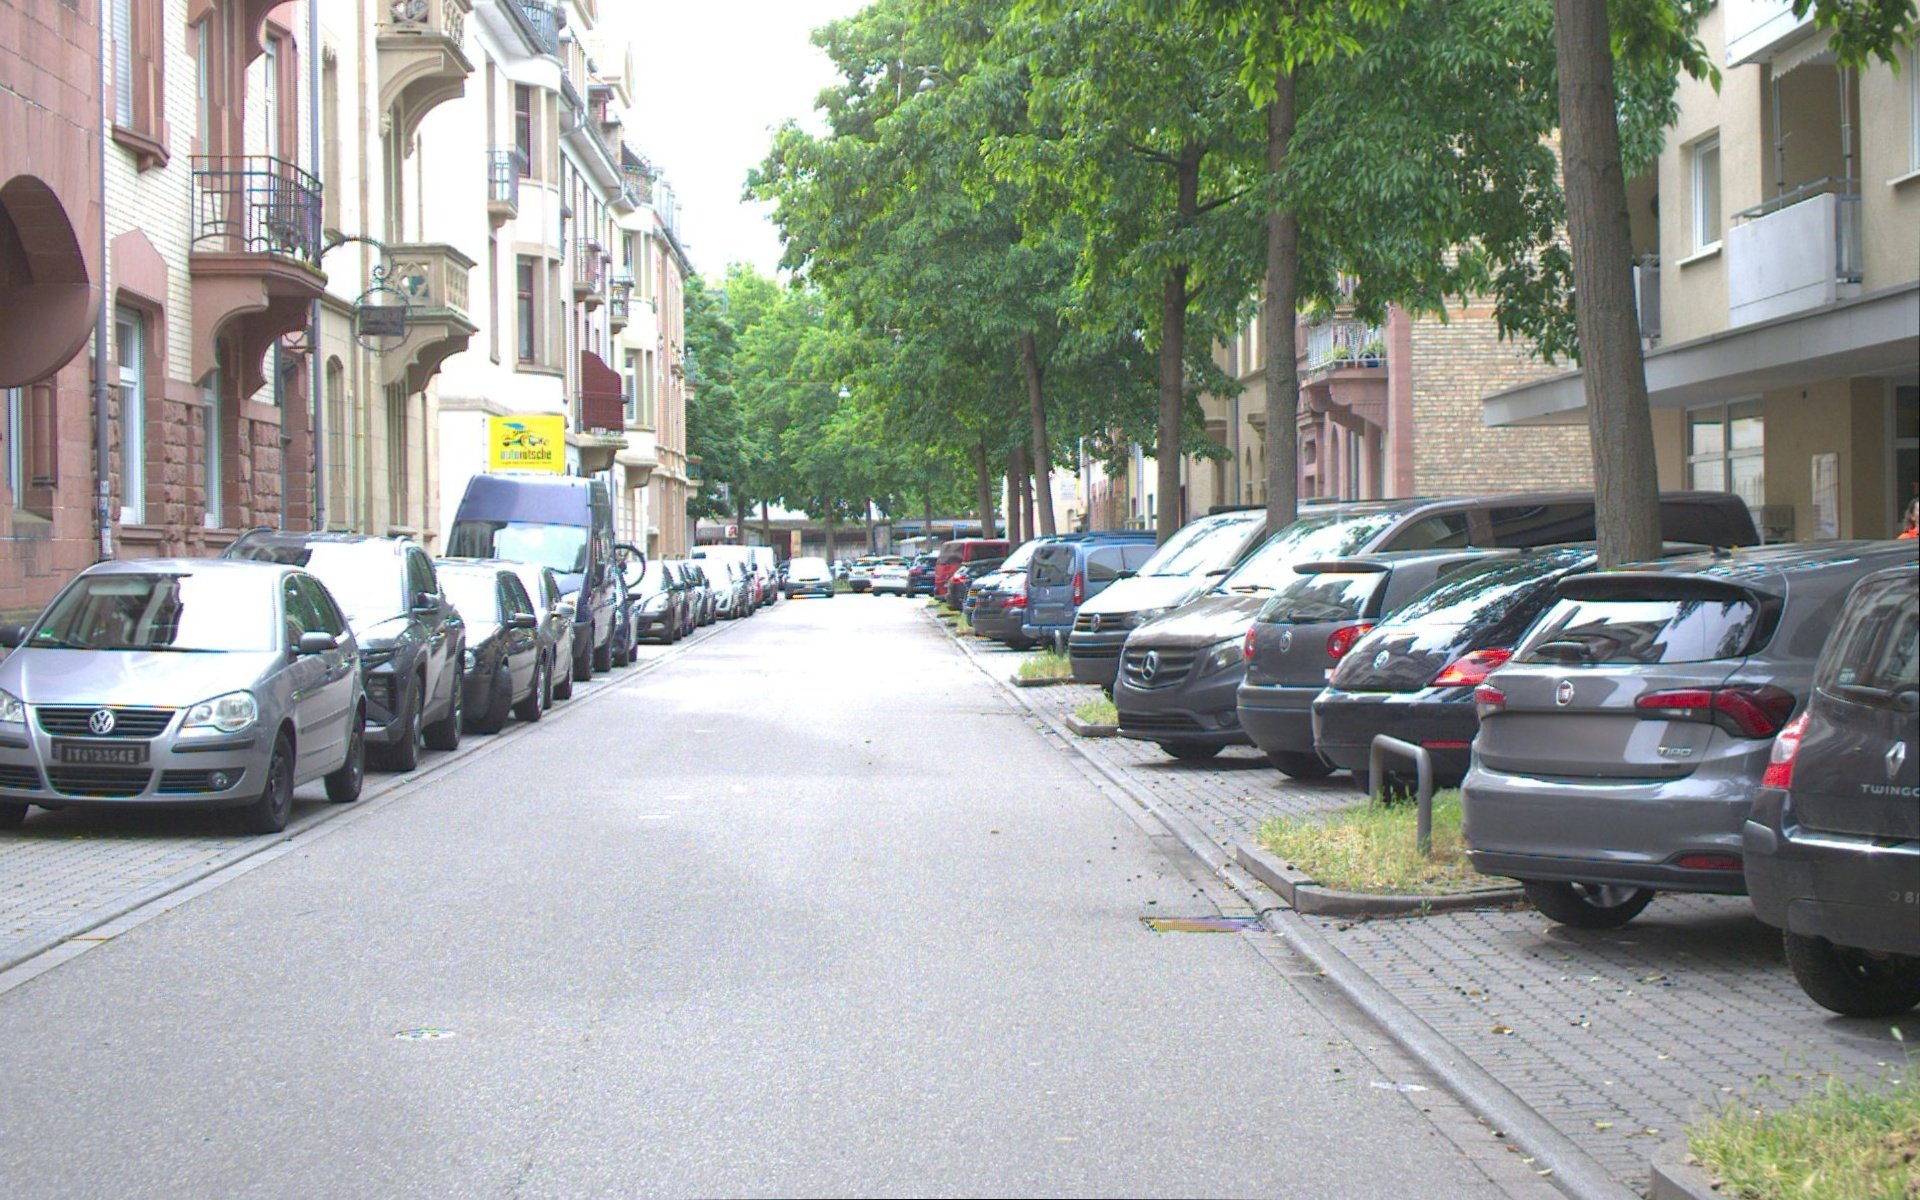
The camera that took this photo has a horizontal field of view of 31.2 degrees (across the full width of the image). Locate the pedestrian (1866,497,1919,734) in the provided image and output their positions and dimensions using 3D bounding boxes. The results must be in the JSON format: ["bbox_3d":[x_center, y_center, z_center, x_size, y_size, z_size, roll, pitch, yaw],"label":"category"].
[{"bbox_3d":[7.241,0.103,25.751,0.624,1.736,0.849,-1,1,-1],"label":"pedestrian"}]

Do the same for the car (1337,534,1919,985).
[{"bbox_3d":[3.821,0.488,13.577,4.213,1.495,1.976,-3,1,-29],"label":"car"}]

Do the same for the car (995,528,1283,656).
[{"bbox_3d":[2.911,-0.130,55.712,4.172,1.863,2.000,-3,0,-31],"label":"car"}]

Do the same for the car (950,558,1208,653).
[{"bbox_3d":[2.040,0.074,58.527,4.010,1.554,1.884,-1,1,-32],"label":"car"}]

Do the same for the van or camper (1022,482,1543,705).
[{"bbox_3d":[3.217,-0.067,34.153,4.729,1.987,2.000,-2,-1,-26],"label":"van or camper"}]

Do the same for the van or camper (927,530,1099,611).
[{"bbox_3d":[1.414,-0.788,91.933,4.146,2.078,1.953,-1,1,-29],"label":"van or camper"}]

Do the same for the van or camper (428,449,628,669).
[{"bbox_3d":[-5.490,-0.535,44.307,2.008,2.642,5.316,-1,1,-1],"label":"van or camper"}]

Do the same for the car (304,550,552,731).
[{"bbox_3d":[-4.632,0.309,30.404,1.634,1.468,4.000,1,1,-1],"label":"car"}]

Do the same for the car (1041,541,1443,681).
[{"bbox_3d":[3.290,0.108,39.843,4.301,1.388,1.923,-3,1,-33],"label":"car"}]

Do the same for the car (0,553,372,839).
[{"bbox_3d":[-4.465,0.466,19.533,1.662,1.416,3.929,1,1,-2],"label":"car"}]

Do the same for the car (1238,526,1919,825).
[{"bbox_3d":[3.837,0.367,19.540,4.039,1.478,1.948,-2,1,-27],"label":"car"}]

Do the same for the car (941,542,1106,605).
[{"bbox_3d":[1.507,-0.636,82.508,3.760,1.460,1.729,-1,1,-7],"label":"car"}]

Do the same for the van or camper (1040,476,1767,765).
[{"bbox_3d":[3.324,0.106,25.544,5.005,1.863,2.127,-2,1,-29],"label":"van or camper"}]

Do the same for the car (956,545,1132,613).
[{"bbox_3d":[1.883,-0.483,77.894,3.760,1.460,1.729,-1,1,-7],"label":"car"}]

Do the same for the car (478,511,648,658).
[{"bbox_3d":[-5.711,-0.248,50.005,1.993,2.007,4.891,-1,1,-1],"label":"car"}]

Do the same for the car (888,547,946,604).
[{"bbox_3d":[-1.616,-0.929,128.926,1.993,2.007,4.000,2,1,-2],"label":"car"}]

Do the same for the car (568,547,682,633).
[{"bbox_3d":[-5.996,-0.191,61.829,1.789,1.475,4.023,1,1,-2],"label":"car"}]

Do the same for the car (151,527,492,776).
[{"bbox_3d":[-4.574,0.310,25.210,1.786,1.641,4.362,1,1,-2],"label":"car"}]

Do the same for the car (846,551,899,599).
[{"bbox_3d":[-3.441,-0.971,135.663,1.993,1.788,4.000,1,0,-1],"label":"car"}]

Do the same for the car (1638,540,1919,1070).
[{"bbox_3d":[4.070,0.517,10.658,3.359,1.491,1.852,-2,0,-24],"label":"car"}]

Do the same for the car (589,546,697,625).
[{"bbox_3d":[-6.154,-0.302,67.066,1.829,1.422,3.801,2,1,-2],"label":"car"}]

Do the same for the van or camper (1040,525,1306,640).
[{"bbox_3d":[4.089,-0.347,65.768,4.775,2.130,2.055,0,1,-32],"label":"van or camper"}]

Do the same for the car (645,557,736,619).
[{"bbox_3d":[-6.607,-0.314,84.680,1.993,1.470,4.000,-1,1,-1],"label":"car"}]

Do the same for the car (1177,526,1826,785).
[{"bbox_3d":[3.586,0.322,22.665,3.849,1.497,1.913,-2,1,-30],"label":"car"}]

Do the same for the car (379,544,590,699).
[{"bbox_3d":[-4.803,0.221,35.189,1.667,1.468,4.000,1,0,-1],"label":"car"}]

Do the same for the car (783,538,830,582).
[{"bbox_3d":[-6.078,-1.590,136.507,1.820,1.639,3.754,1,0,-2],"label":"car"}]
